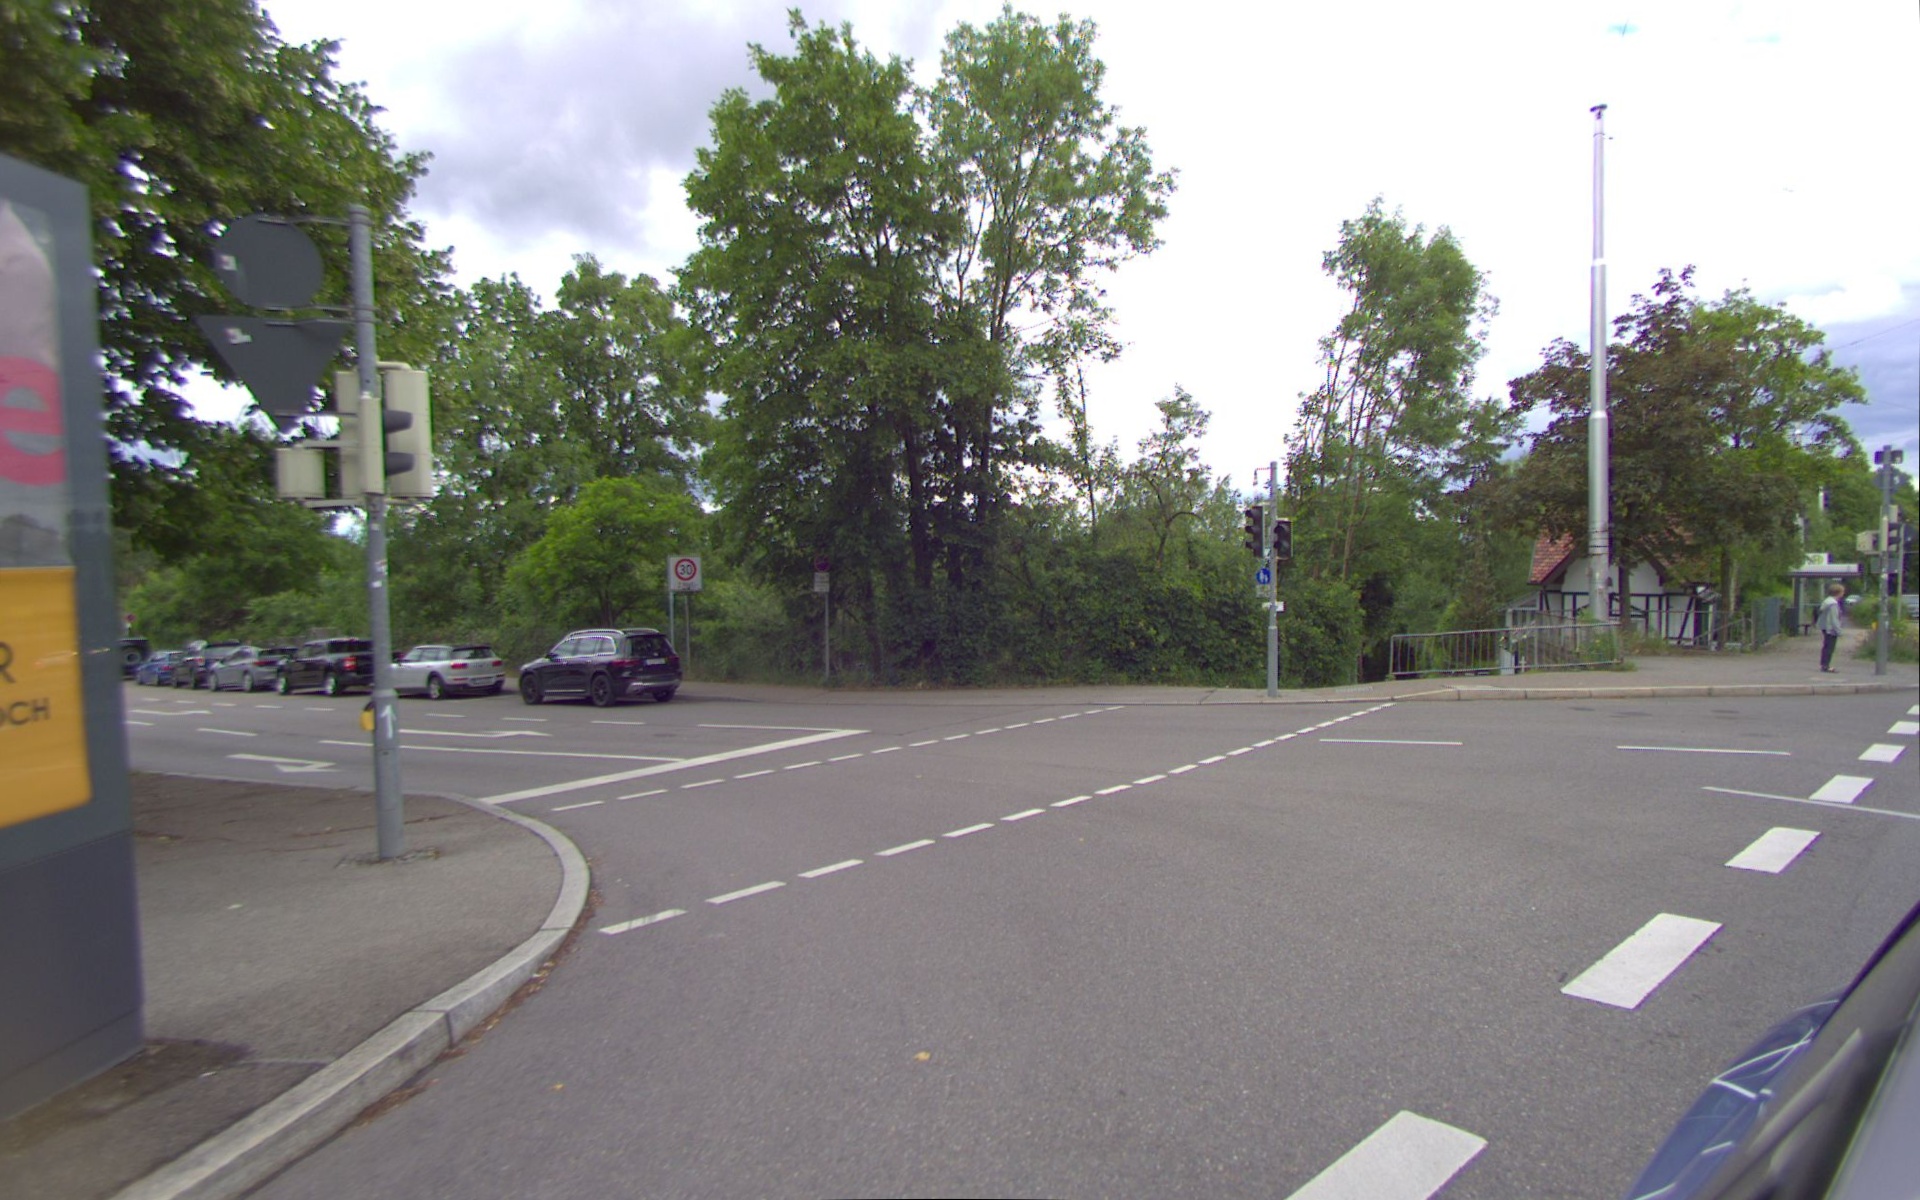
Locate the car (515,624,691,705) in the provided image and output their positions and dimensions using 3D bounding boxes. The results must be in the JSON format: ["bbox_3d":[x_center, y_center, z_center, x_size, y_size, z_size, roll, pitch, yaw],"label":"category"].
[{"bbox_3d":[-8.242,1.447,23.222,4.240,1.640,1.725,-3,-2,36],"label":"car"}]

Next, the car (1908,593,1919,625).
[{"bbox_3d":[45.070,0.410,46.723,1.802,1.411,4.218,2,1,42],"label":"car"}]

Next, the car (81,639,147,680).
[{"bbox_3d":[-38.552,2.661,46.103,4.233,1.742,1.544,-2,-1,39],"label":"car"}]

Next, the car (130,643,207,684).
[{"bbox_3d":[-32.116,2.537,41.042,4.004,1.532,1.544,-2,-1,38],"label":"car"}]

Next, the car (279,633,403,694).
[{"bbox_3d":[-18.671,1.876,30.456,4.475,1.649,1.610,-2,-1,36],"label":"car"}]

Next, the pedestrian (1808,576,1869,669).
[{"bbox_3d":[16.642,0.403,19.186,0.689,1.709,0.613,2,2,30],"label":"pedestrian"}]

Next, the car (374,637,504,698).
[{"bbox_3d":[-14.220,1.797,27.567,3.755,1.473,1.609,-2,0,36],"label":"car"}]

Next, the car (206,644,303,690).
[{"bbox_3d":[-23.838,2.216,34.139,3.798,1.424,1.545,-2,-1,36],"label":"car"}]
